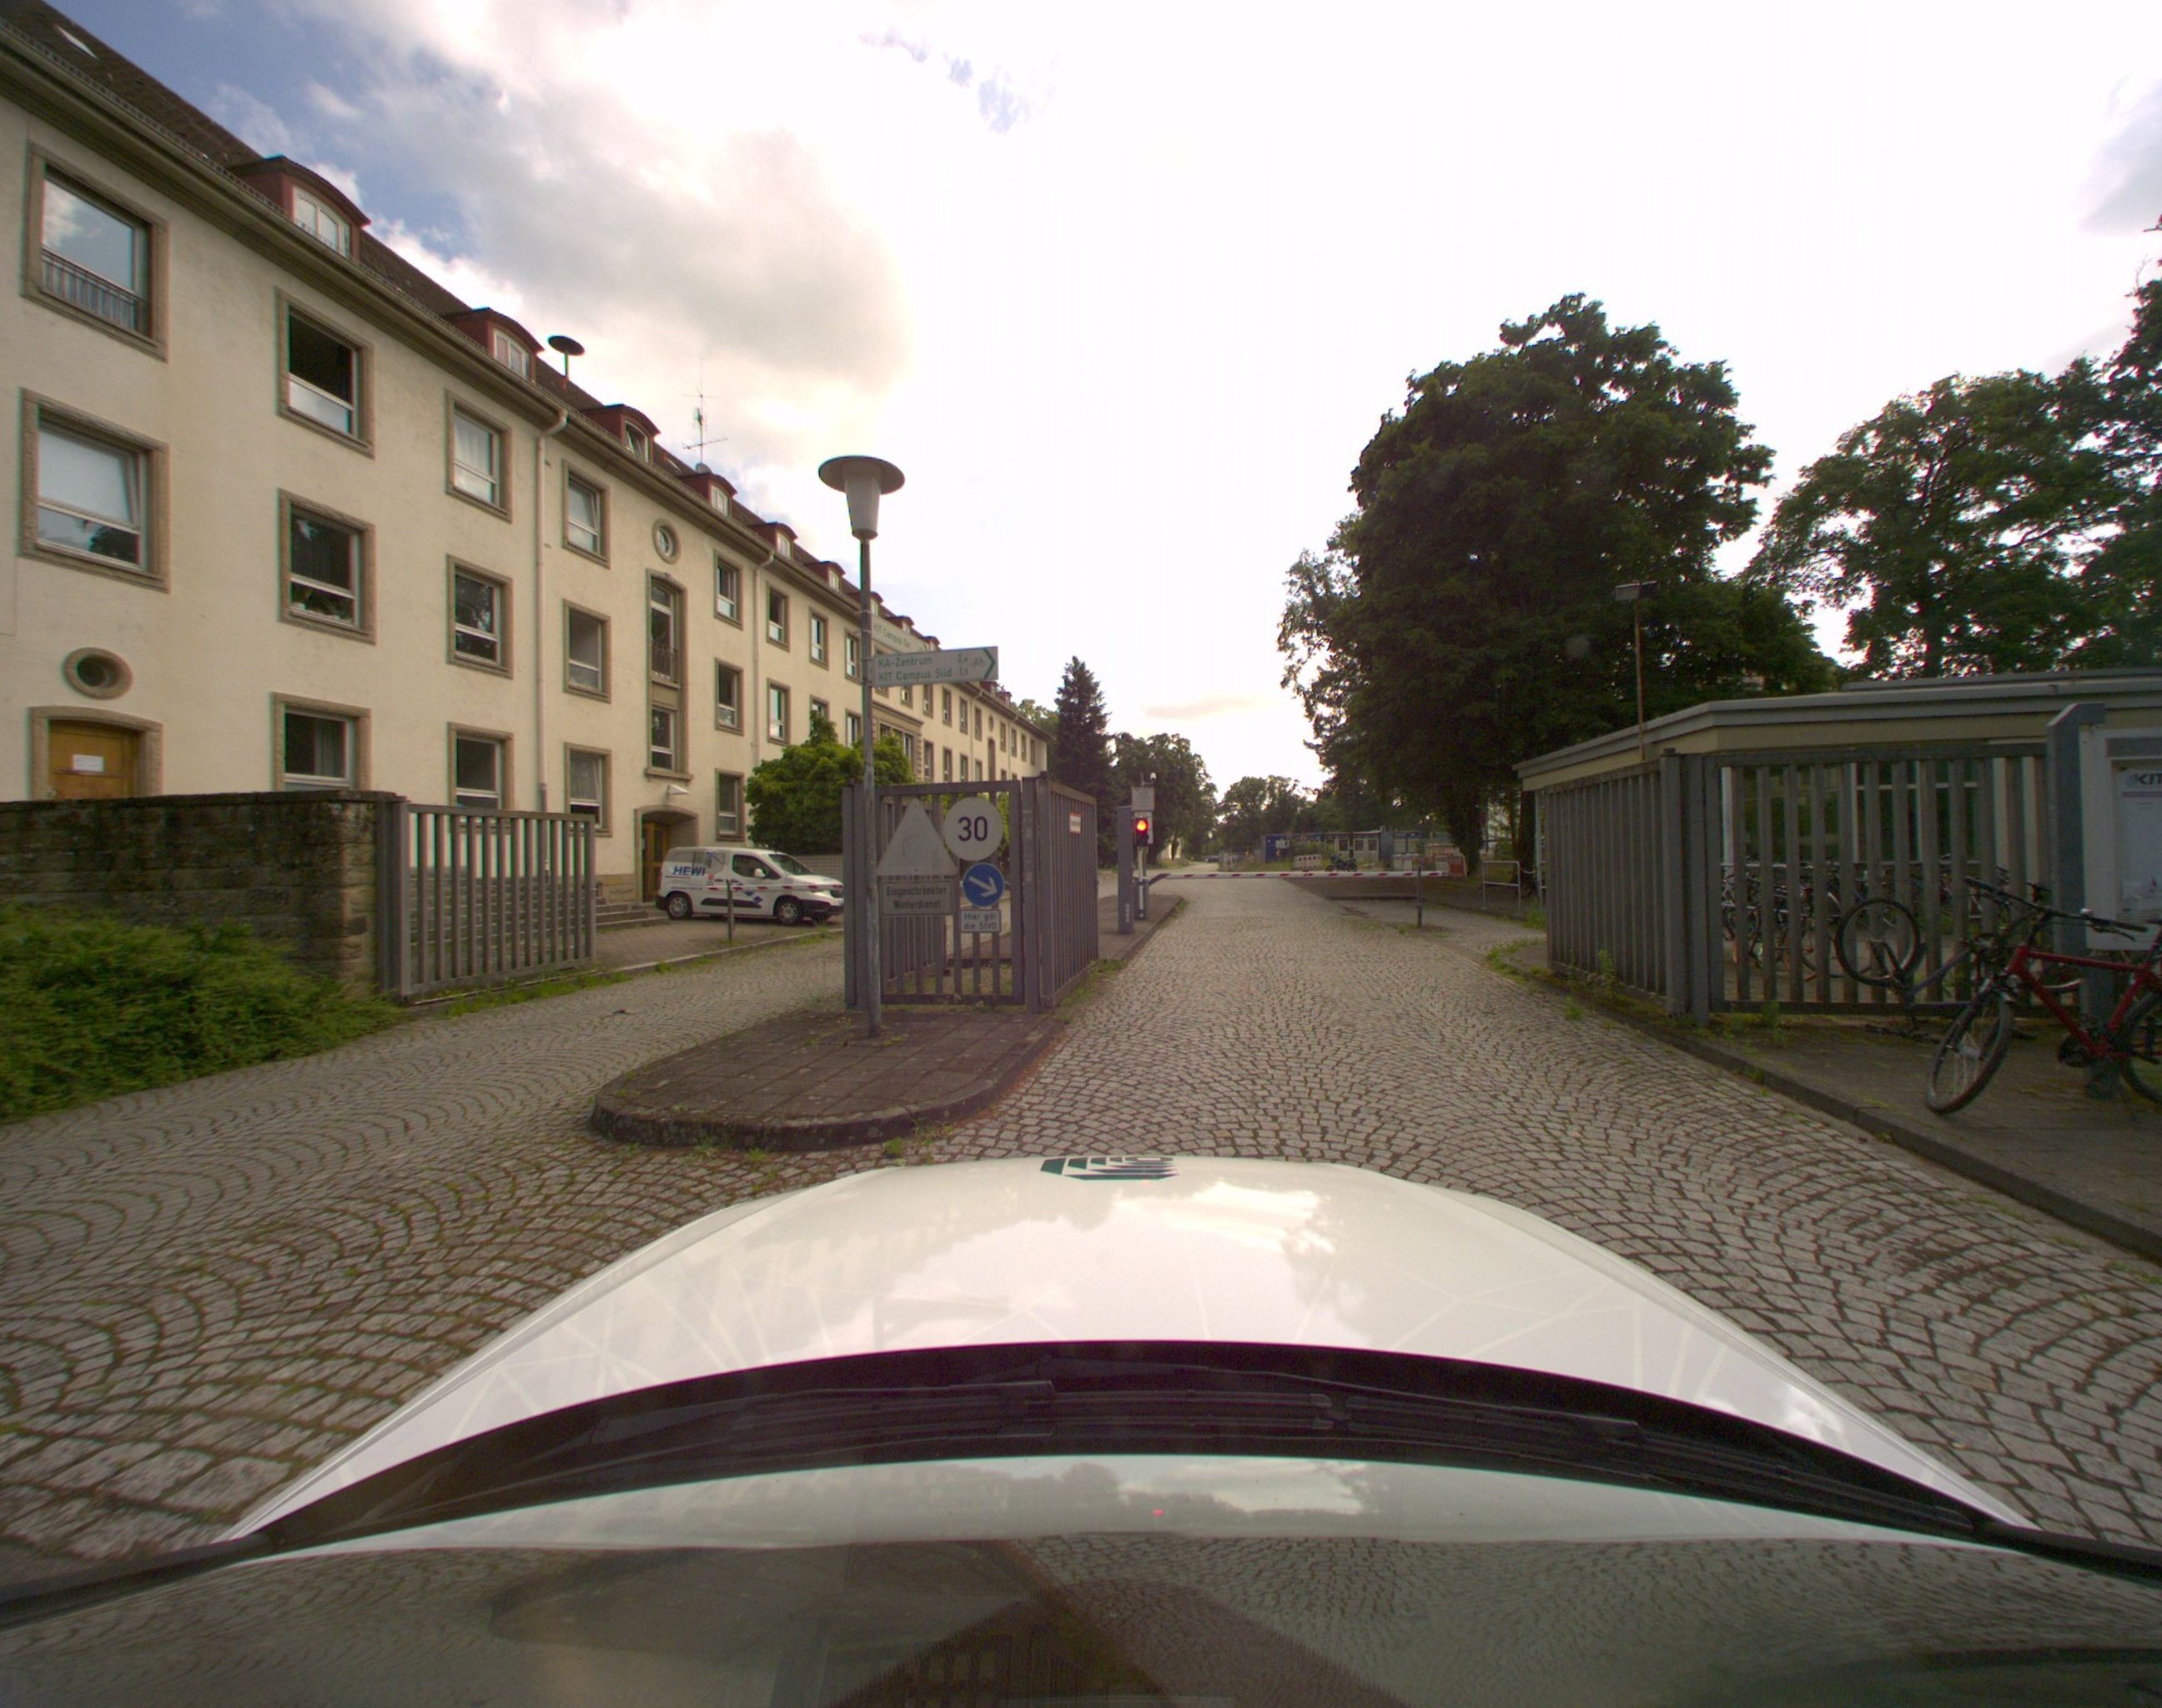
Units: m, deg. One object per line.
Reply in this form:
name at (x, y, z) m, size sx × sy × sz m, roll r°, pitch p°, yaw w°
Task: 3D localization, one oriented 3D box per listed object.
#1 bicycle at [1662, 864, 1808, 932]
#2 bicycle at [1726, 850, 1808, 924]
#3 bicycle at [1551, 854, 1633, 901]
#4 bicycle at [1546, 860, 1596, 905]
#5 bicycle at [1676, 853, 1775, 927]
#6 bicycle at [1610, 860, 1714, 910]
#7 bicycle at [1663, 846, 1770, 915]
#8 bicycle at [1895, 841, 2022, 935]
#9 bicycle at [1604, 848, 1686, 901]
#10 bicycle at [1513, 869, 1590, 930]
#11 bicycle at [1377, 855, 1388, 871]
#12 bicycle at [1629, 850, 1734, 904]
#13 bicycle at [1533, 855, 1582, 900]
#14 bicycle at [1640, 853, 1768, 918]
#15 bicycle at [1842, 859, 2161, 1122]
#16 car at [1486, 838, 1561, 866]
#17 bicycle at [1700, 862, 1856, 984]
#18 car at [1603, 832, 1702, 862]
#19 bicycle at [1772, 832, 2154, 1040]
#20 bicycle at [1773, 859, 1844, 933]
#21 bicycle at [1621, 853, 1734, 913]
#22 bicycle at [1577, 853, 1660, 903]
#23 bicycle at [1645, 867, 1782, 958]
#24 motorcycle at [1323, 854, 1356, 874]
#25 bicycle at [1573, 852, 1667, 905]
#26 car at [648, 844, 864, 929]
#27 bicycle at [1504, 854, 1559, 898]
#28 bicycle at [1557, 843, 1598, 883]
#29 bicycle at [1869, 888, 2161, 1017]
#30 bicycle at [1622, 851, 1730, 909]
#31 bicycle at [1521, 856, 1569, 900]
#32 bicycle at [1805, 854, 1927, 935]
bicycle at (11.858, 0.795, 14.813) m, size 2.058 × 1.171 × 0.487 m, roll -2°, pitch -3°, yaw 8°
bicycle at (11.391, 0.529, 13.513) m, size 1.657 × 1.171 × 0.432 m, roll 0°, pitch -3°, yaw -29°
bicycle at (13.121, 0.606, 20.926) m, size 1.792 × 1.171 × 0.359 m, roll -1°, pitch -3°, yaw 3°
bicycle at (13.019, 0.751, 21.629) m, size 1.384 × 1.171 × 0.356 m, roll 0°, pitch -3°, yaw -23°
bicycle at (10.999, 0.606, 13.889) m, size 1.652 × 1.171 × 0.433 m, roll -2°, pitch -2°, yaw -18°
bicycle at (12.693, 0.670, 17.816) m, size 1.973 × 1.029 × 0.401 m, roll -1°, pitch -3°, yaw -2°
bicycle at (11.115, 0.469, 14.272) m, size 1.382 × 1.171 × 0.437 m, roll -2°, pitch -3°, yaw 10°
bicycle at (11.806, 0.451, 11.023) m, size 0.431 × 1.171 × 1.733 m, roll -2°, pitch -3°, yaw 23°
bicycle at (12.758, 0.463, 18.431) m, size 1.700 × 1.160 × 0.400 m, roll -1°, pitch -3°, yaw -10°
bicycle at (9.098, 0.847, 15.813) m, size 0.725 × 1.072 × 1.718 m, roll -2°, pitch 0°, yaw 10°
bicycle at (19.963, 0.611, 53.947) m, size 0.330 × 1.008 × 1.730 m, roll -2°, pitch -2°, yaw 9°
bicycle at (12.044, 0.458, 16.364) m, size 1.762 × 1.031 × 0.354 m, roll -1°, pitch -3°, yaw 3°
bicycle at (12.884, 0.627, 22.010) m, size 1.384 × 1.171 × 0.356 m, roll 0°, pitch -3°, yaw -23°
bicycle at (11.825, 0.596, 15.497) m, size 1.940 × 1.171 × 0.486 m, roll -2°, pitch -3°, yaw 4°
bicycle at (5.394, 0.704, 4.438) m, size 1.726 × 1.277 × 0.674 m, roll -2°, pitch -1°, yaw 6°
car at (30.865, -0.115, 56.938) m, size 4.192 × 1.820 × 2.006 m, roll -1°, pitch -1°, yaw 11°
bicycle at (7.644, 0.701, 9.030) m, size 0.498 × 1.170 × 1.721 m, roll -2°, pitch 1°, yaw 10°
car at (35.434, -0.398, 50.667) m, size 1.999 × 1.650 × 4.810 m, roll 0°, pitch -1°, yaw -18°
bicycle at (6.425, 0.591, 6.045) m, size 1.886 × 1.417 × 0.518 m, roll -2°, pitch -2°, yaw 15°
bicycle at (11.580, 0.643, 12.942) m, size 1.660 × 1.119 × 0.431 m, roll 0°, pitch -3°, yaw -35°
bicycle at (12.302, 0.601, 16.820) m, size 2.010 × 1.171 × 0.401 m, roll -1°, pitch -3°, yaw -2°
bicycle at (13.068, 0.580, 19.810) m, size 1.801 × 1.171 × 0.495 m, roll -1°, pitch -3°, yaw -11°
bicycle at (8.172, 0.721, 10.616) m, size 0.725 × 1.057 × 1.599 m, roll -2°, pitch 0°, yaw 10°
motorcycle at (16.793, 0.647, 52.873) m, size 1.945 × 1.194 × 0.462 m, roll -3°, pitch 4°, yaw 8°
bicycle at (12.568, 0.567, 19.026) m, size 1.796 × 1.171 × 0.583 m, roll -1°, pitch -3°, yaw -3°
car at (-7.809, 0.737, 19.805) m, size 4.413 × 1.751 × 1.862 m, roll 3°, pitch 0°, yaw 6°
bicycle at (12.701, 0.617, 22.977) m, size 1.379 × 1.171 × 0.432 m, roll -2°, pitch -1°, yaw -12°
bicycle at (15.487, 0.298, 25.443) m, size 0.501 × 1.171 × 1.558 m, roll -2°, pitch -3°, yaw 9°
bicycle at (7.693, 0.784, 6.589) m, size 1.933 × 0.968 × 0.459 m, roll -1°, pitch -1°, yaw 11°
bicycle at (12.695, 0.552, 17.389) m, size 1.973 × 1.171 × 0.401 m, roll -1°, pitch -3°, yaw -2°
bicycle at (12.764, 0.659, 22.395) m, size 1.384 × 1.171 × 0.356 m, roll 0°, pitch -3°, yaw -23°
bicycle at (12.257, 0.666, 12.780) m, size 0.432 × 1.084 × 1.598 m, roll -2°, pitch -10°, yaw 9°
